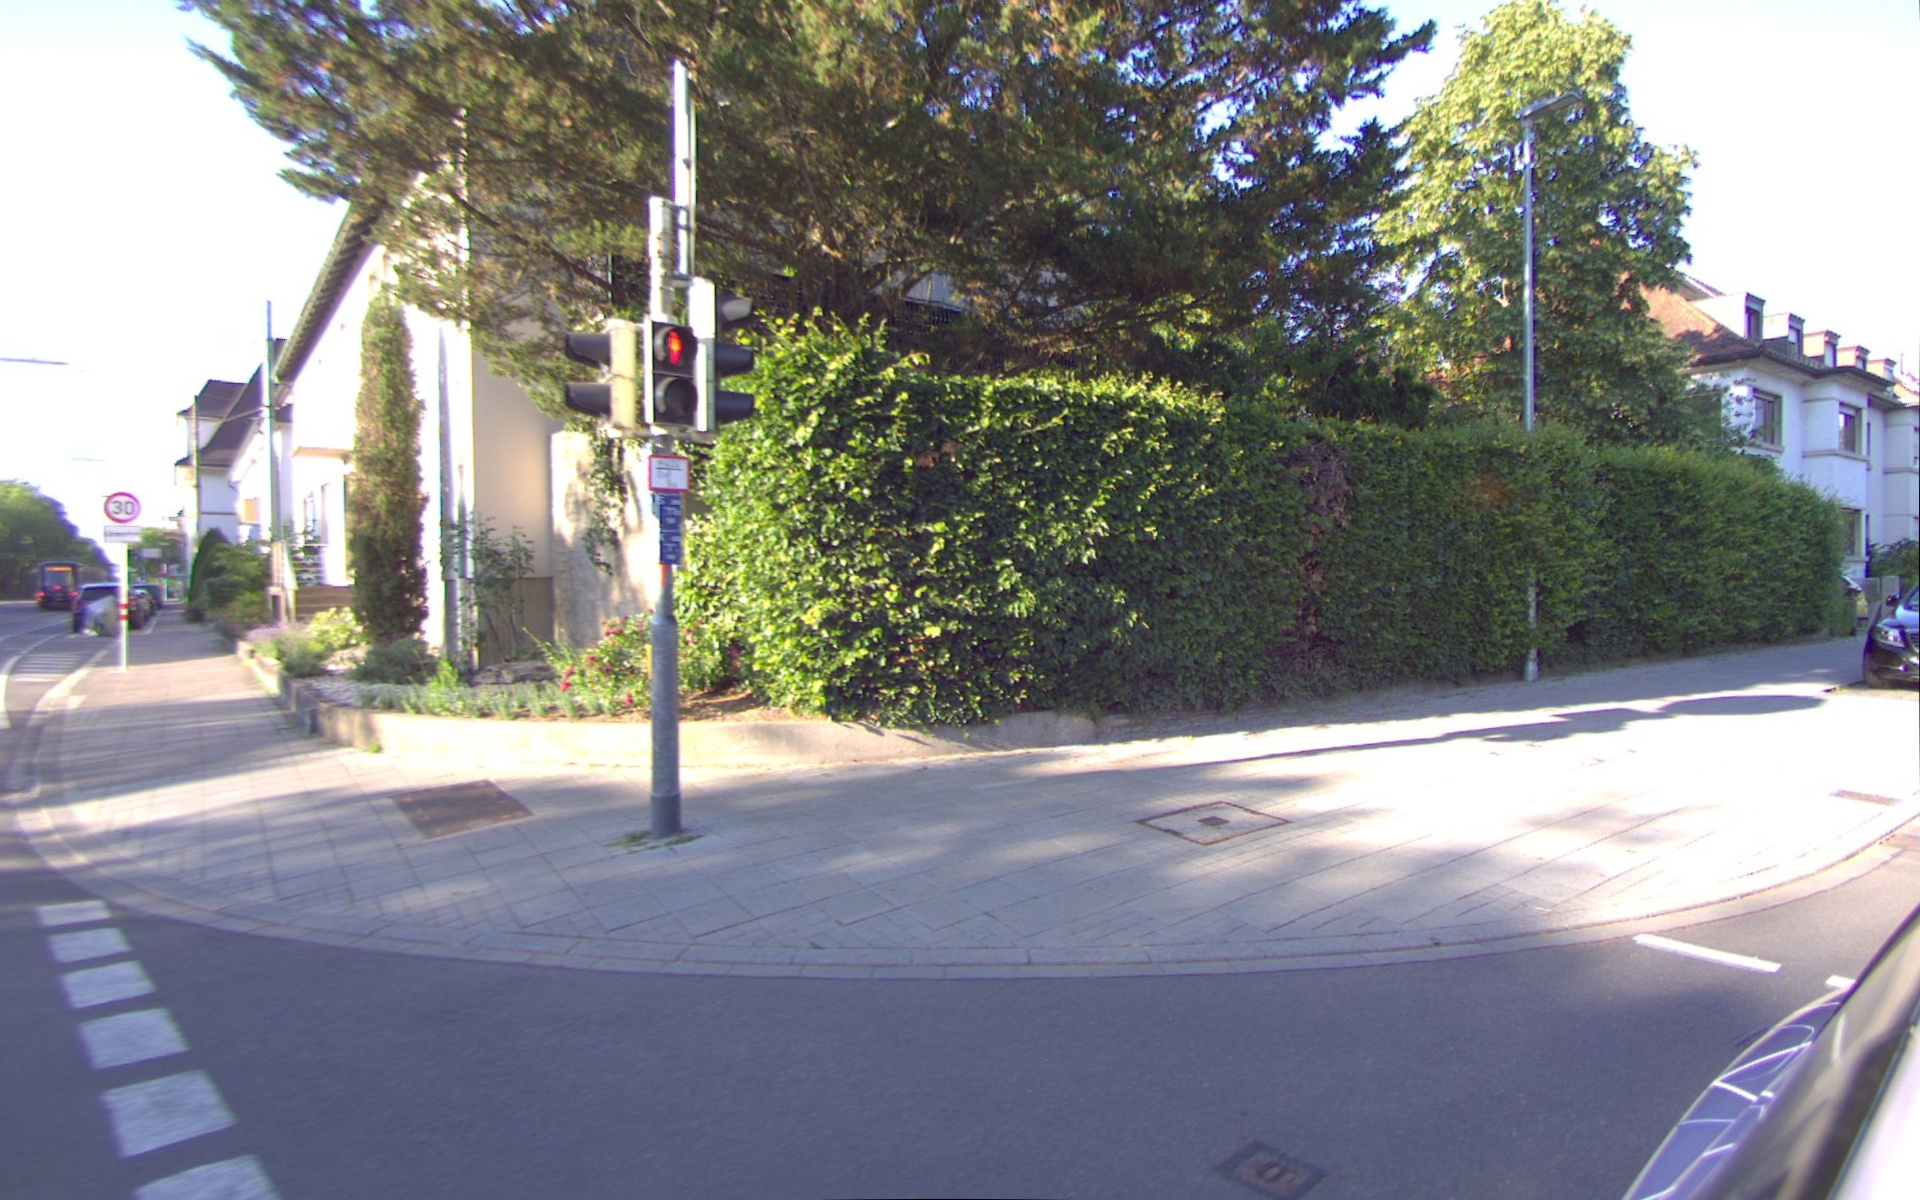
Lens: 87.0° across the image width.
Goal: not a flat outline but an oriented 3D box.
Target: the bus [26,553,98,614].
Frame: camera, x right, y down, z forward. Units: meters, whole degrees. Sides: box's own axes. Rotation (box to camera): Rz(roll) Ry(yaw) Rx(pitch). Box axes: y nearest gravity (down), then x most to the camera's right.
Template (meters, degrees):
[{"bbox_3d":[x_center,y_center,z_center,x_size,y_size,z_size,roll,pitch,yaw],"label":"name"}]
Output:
[{"bbox_3d":[-67.351,-1.099,76.174,2.814,3.874,13.314,-3,0,-37],"label":"bus"}]

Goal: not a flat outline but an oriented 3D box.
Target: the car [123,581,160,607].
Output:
[{"bbox_3d":[-60.356,-0.442,74.678,1.963,1.794,3.998,-2,2,-37],"label":"car"}]

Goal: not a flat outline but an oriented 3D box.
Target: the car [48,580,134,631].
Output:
[{"bbox_3d":[-30.416,0.173,35.520,1.964,1.615,3.998,-3,2,-37],"label":"car"}]

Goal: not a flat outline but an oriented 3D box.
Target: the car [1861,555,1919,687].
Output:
[{"bbox_3d":[13.345,0.196,12.868,4.827,1.517,2.009,-2,3,-39],"label":"car"}]
